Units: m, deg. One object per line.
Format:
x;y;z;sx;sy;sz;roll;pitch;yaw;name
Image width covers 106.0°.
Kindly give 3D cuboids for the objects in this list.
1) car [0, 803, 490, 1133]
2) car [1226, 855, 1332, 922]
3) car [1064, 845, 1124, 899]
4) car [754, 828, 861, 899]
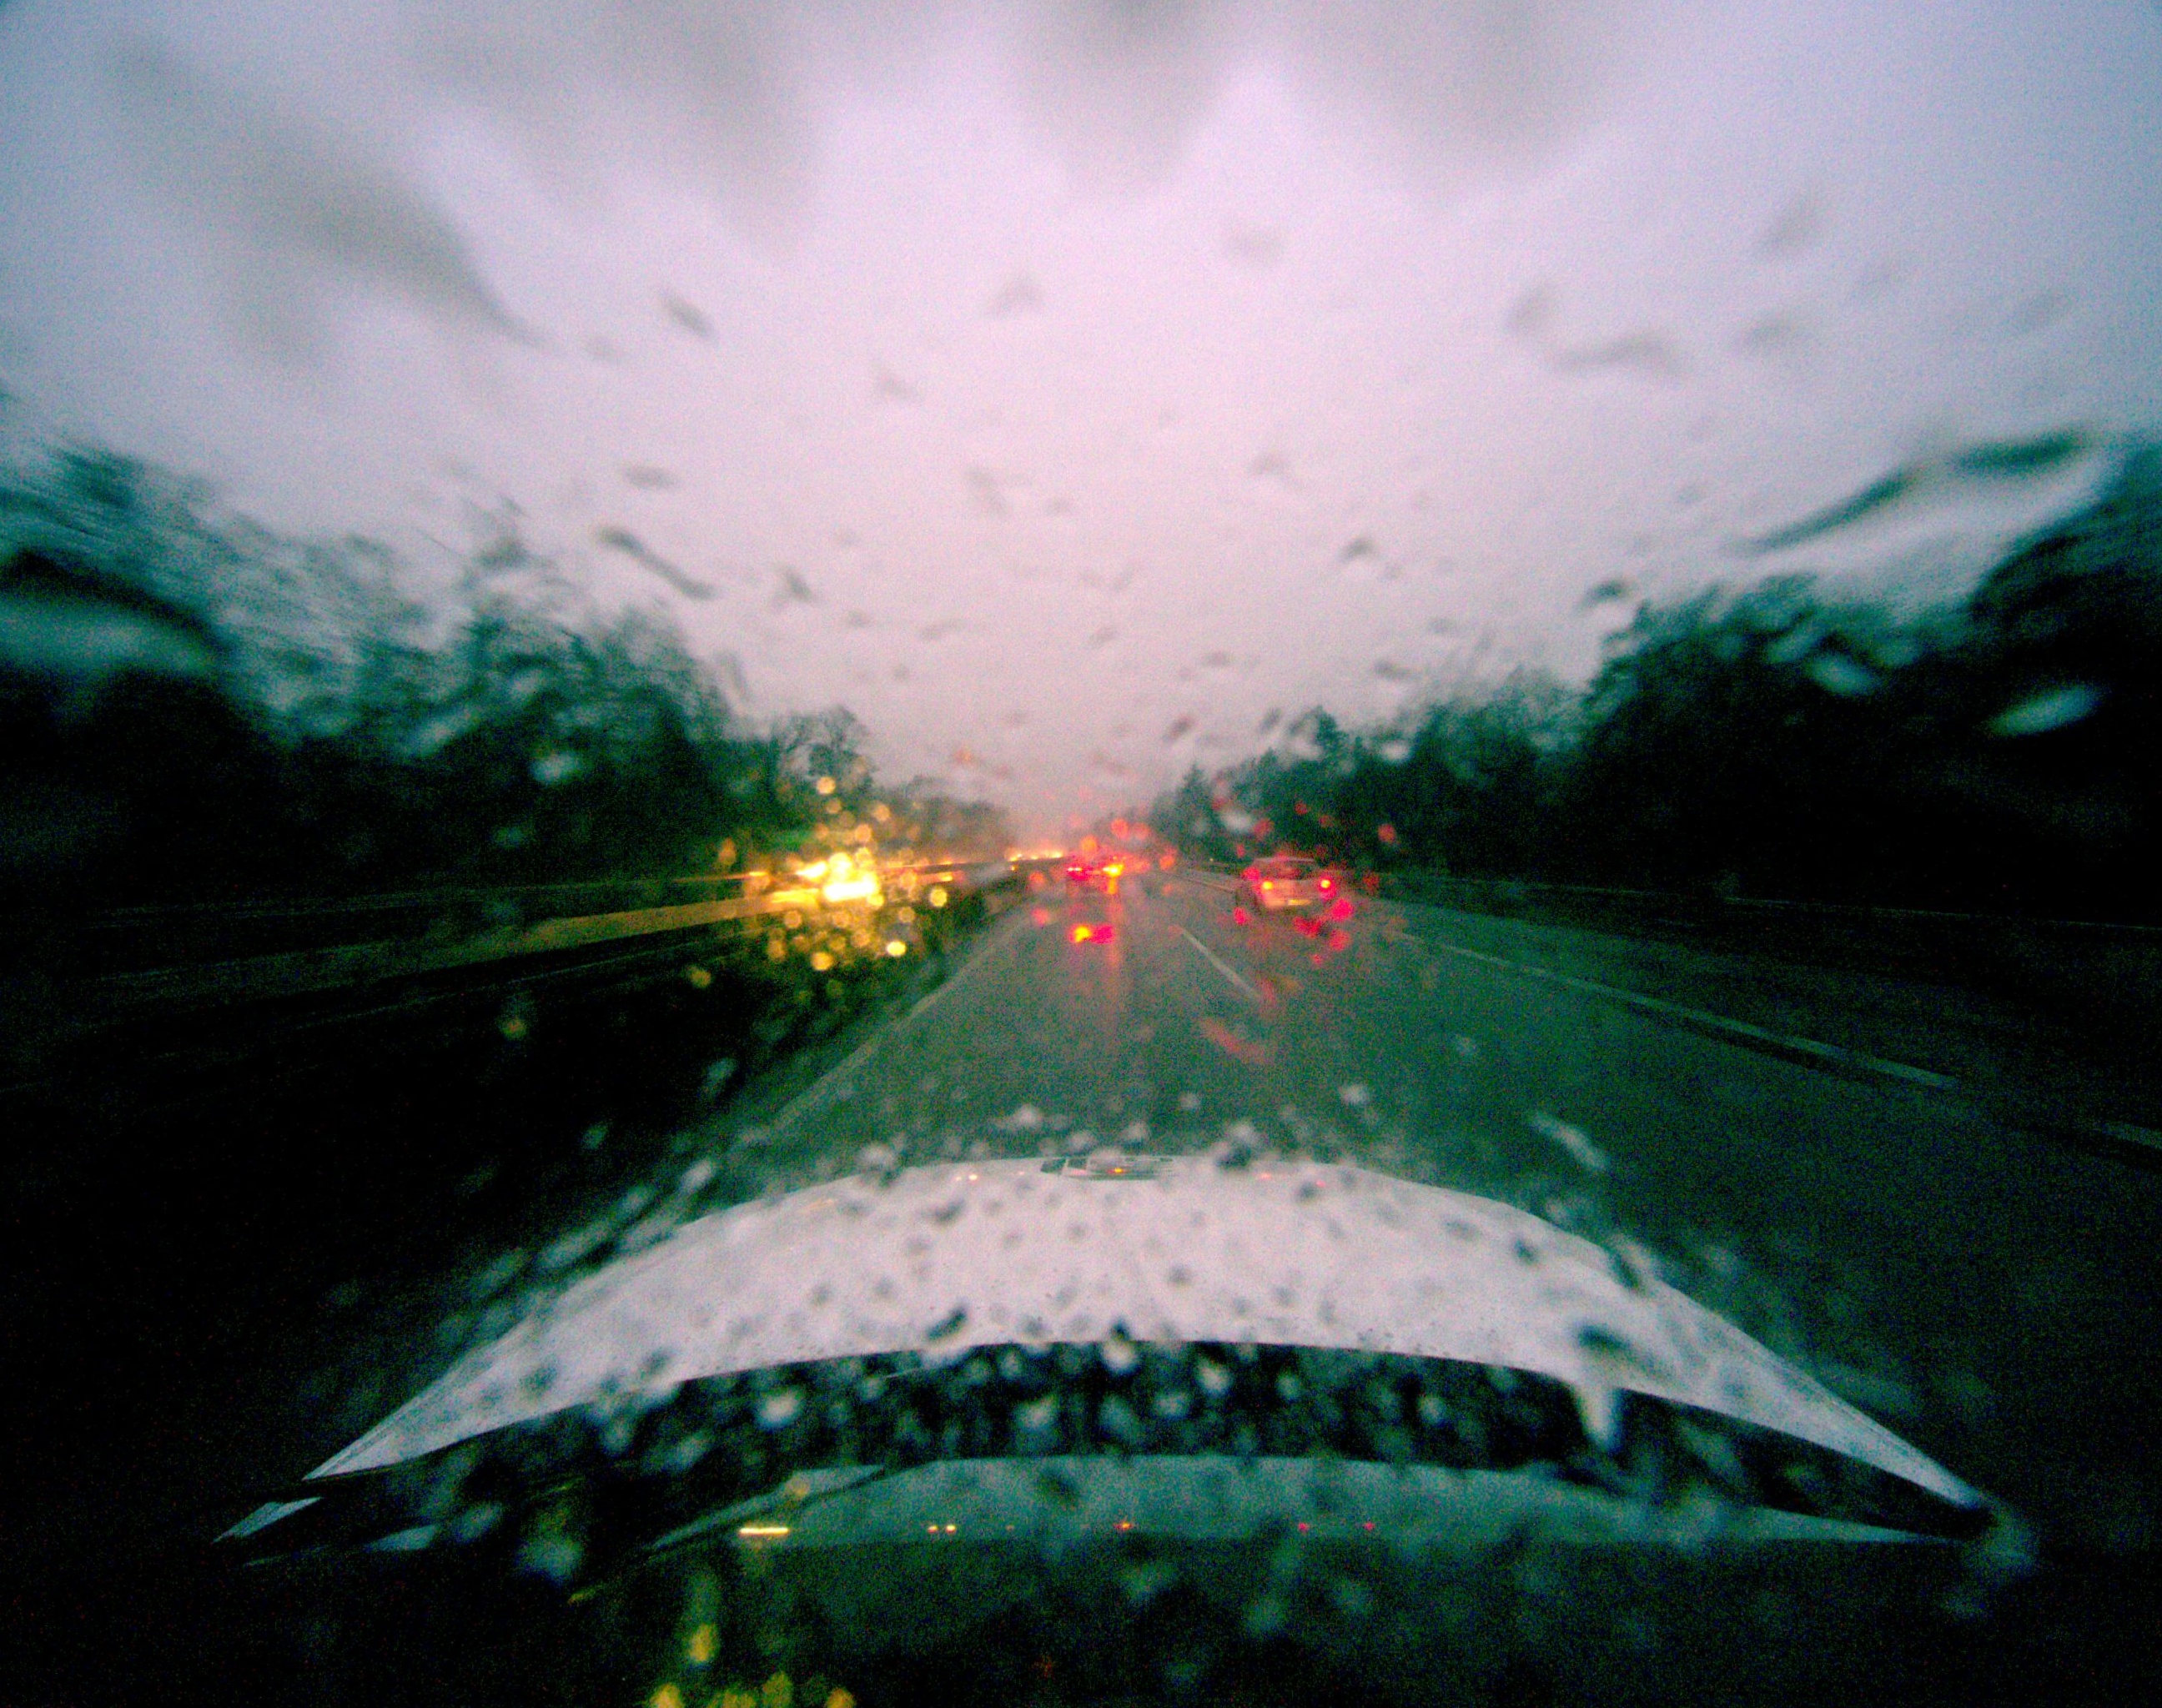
-6.481;0.567;5.529;1.897;1.706;4.002;1;0;2;car
4.632;0.749;19.557;1.773;1.437;3.538;-1;0;2;car
0.444;0.593;29.137;1.980;1.767;4.173;-1;0;0;car
-10.922;0.337;33.134;1.996;2.568;6.378;-1;0;1;car
